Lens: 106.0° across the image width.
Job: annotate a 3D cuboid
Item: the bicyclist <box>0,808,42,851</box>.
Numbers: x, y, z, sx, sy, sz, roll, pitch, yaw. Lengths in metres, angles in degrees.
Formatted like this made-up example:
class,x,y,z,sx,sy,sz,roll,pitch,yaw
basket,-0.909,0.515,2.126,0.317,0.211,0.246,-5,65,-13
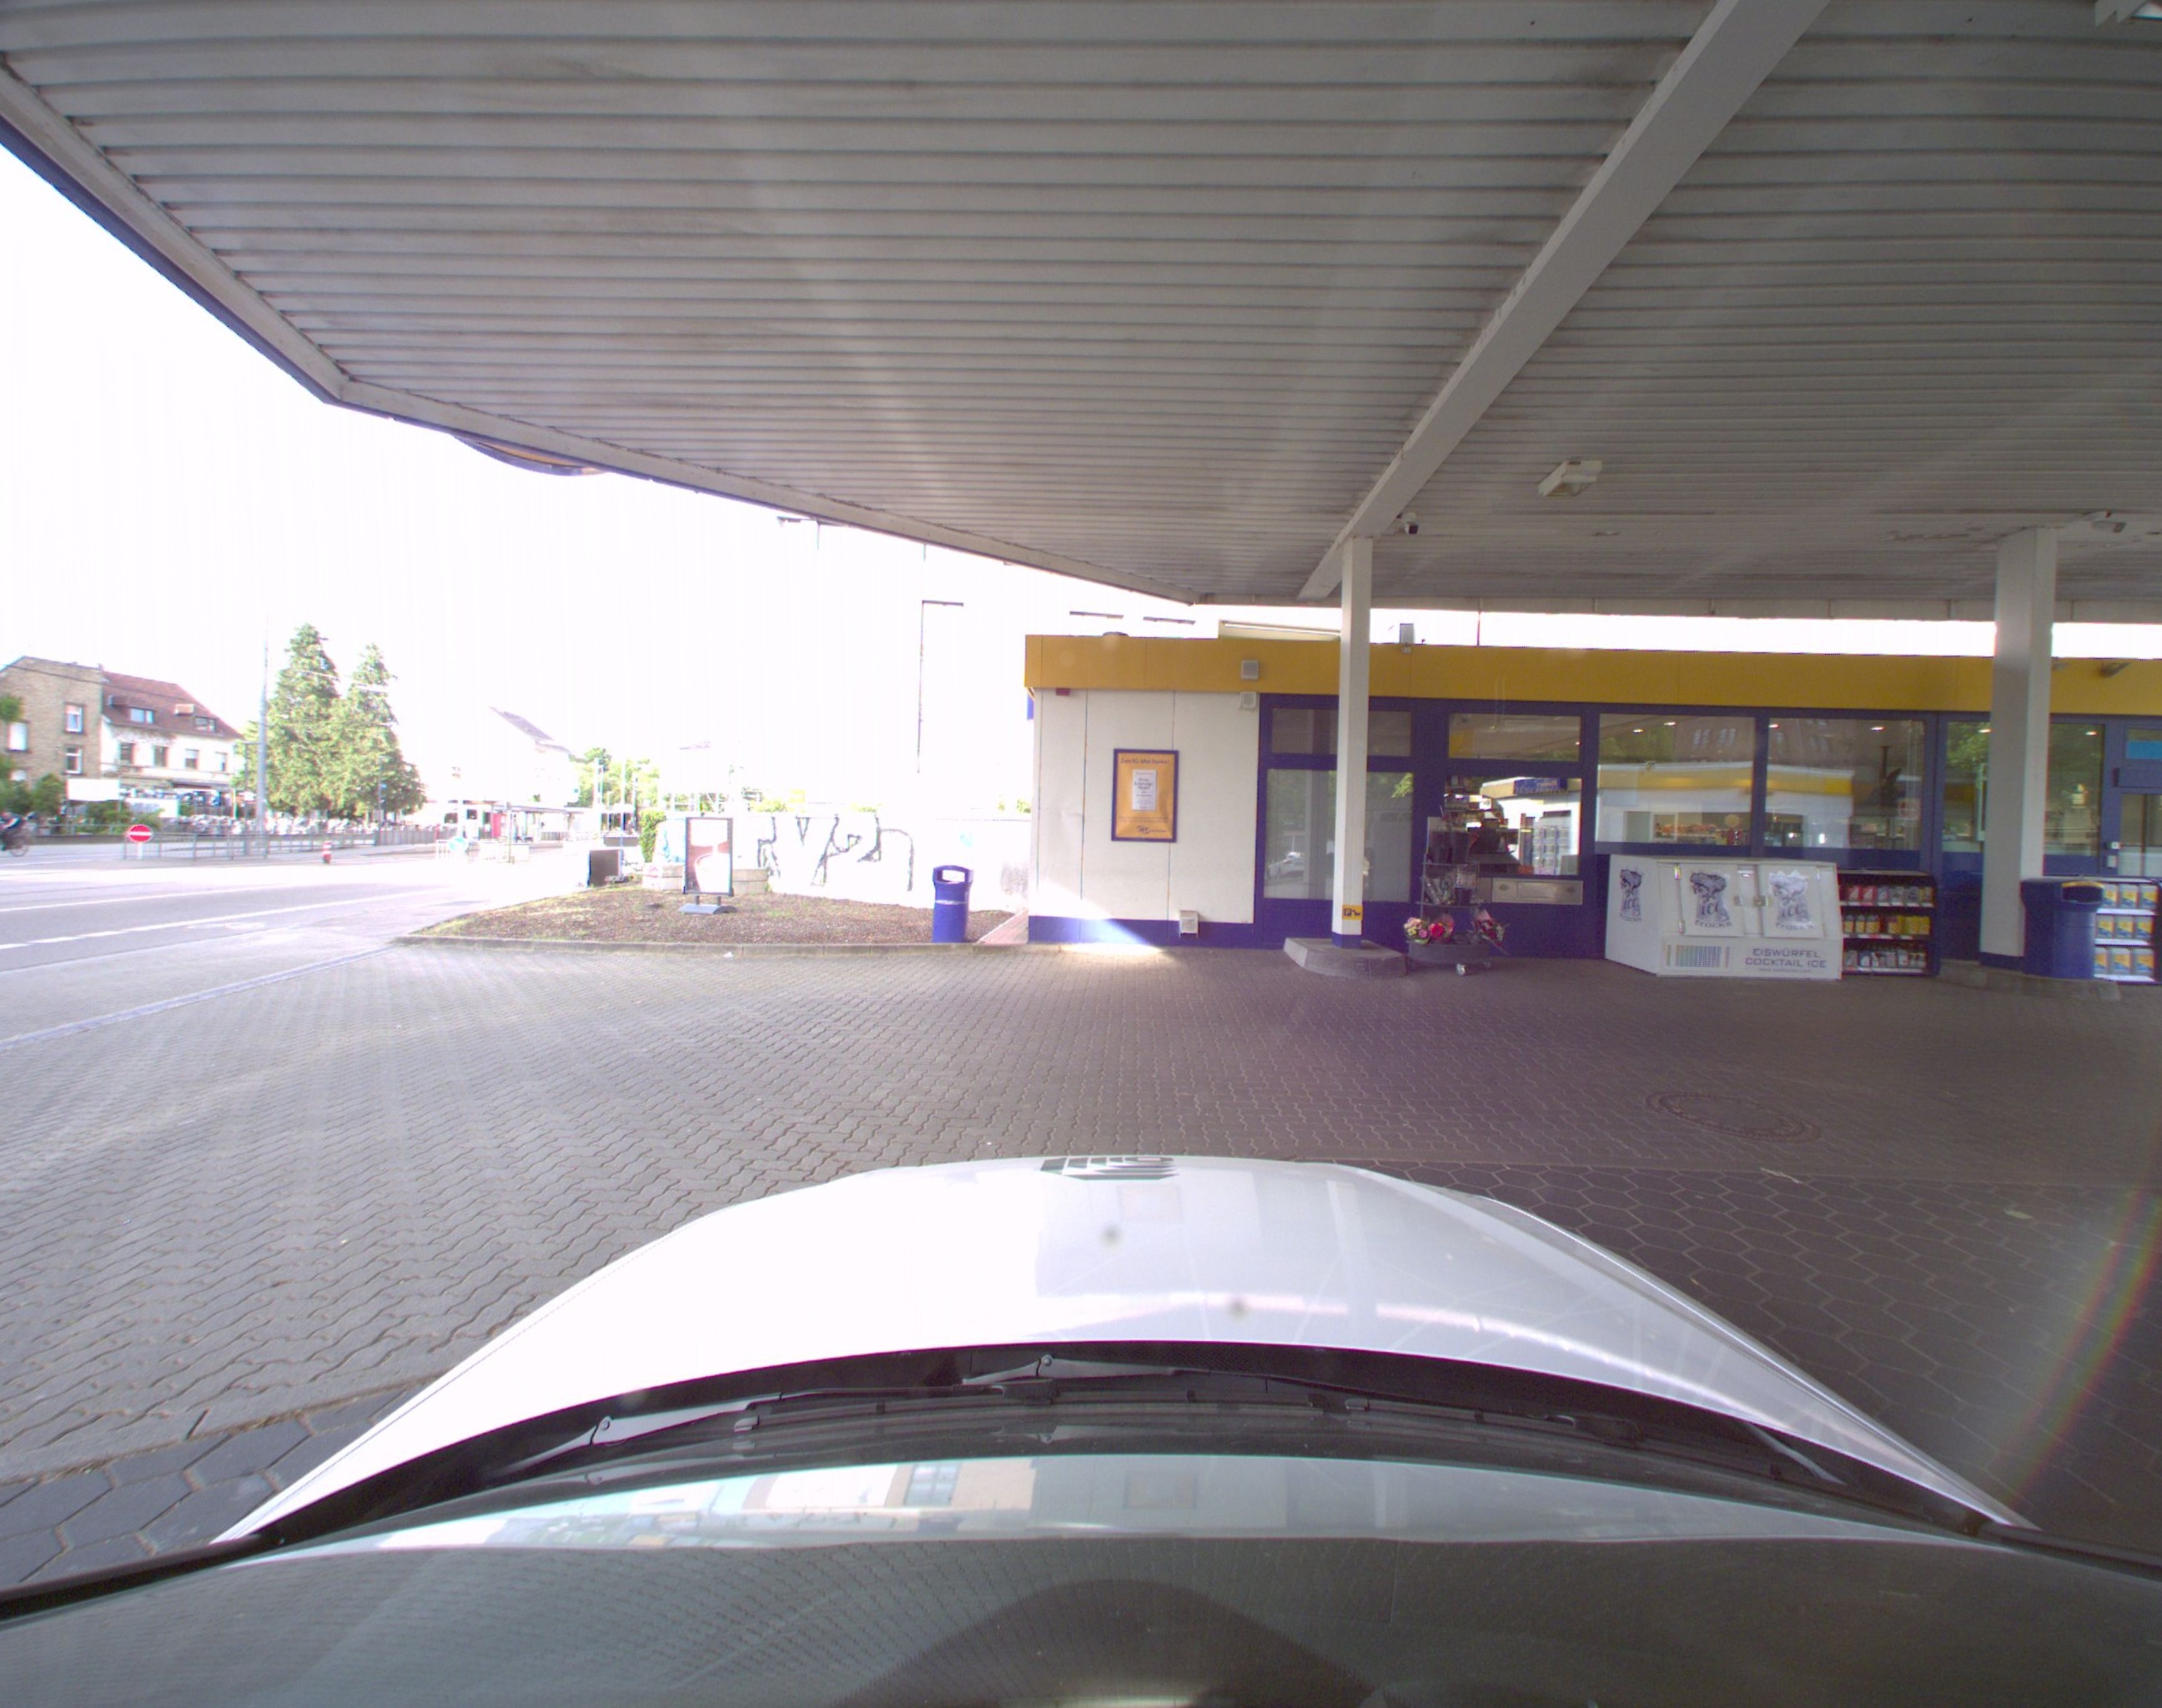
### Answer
class,x,y,z,sx,sy,sz,roll,pitch,yaw
bicyclist,-37.969,-0.871,29.008,0.680,1.534,1.079,0,1,-19

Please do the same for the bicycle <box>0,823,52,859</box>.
class,x,y,z,sx,sy,sz,roll,pitch,yaw
bicycle,-37.982,-0.473,29.007,0.680,1.222,1.907,0,2,-19

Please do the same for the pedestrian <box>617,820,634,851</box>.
class,x,y,z,sx,sy,sz,roll,pitch,yaw
pedestrian,-29.577,-1.185,52.898,0.807,2.014,0.846,0,-1,-14
